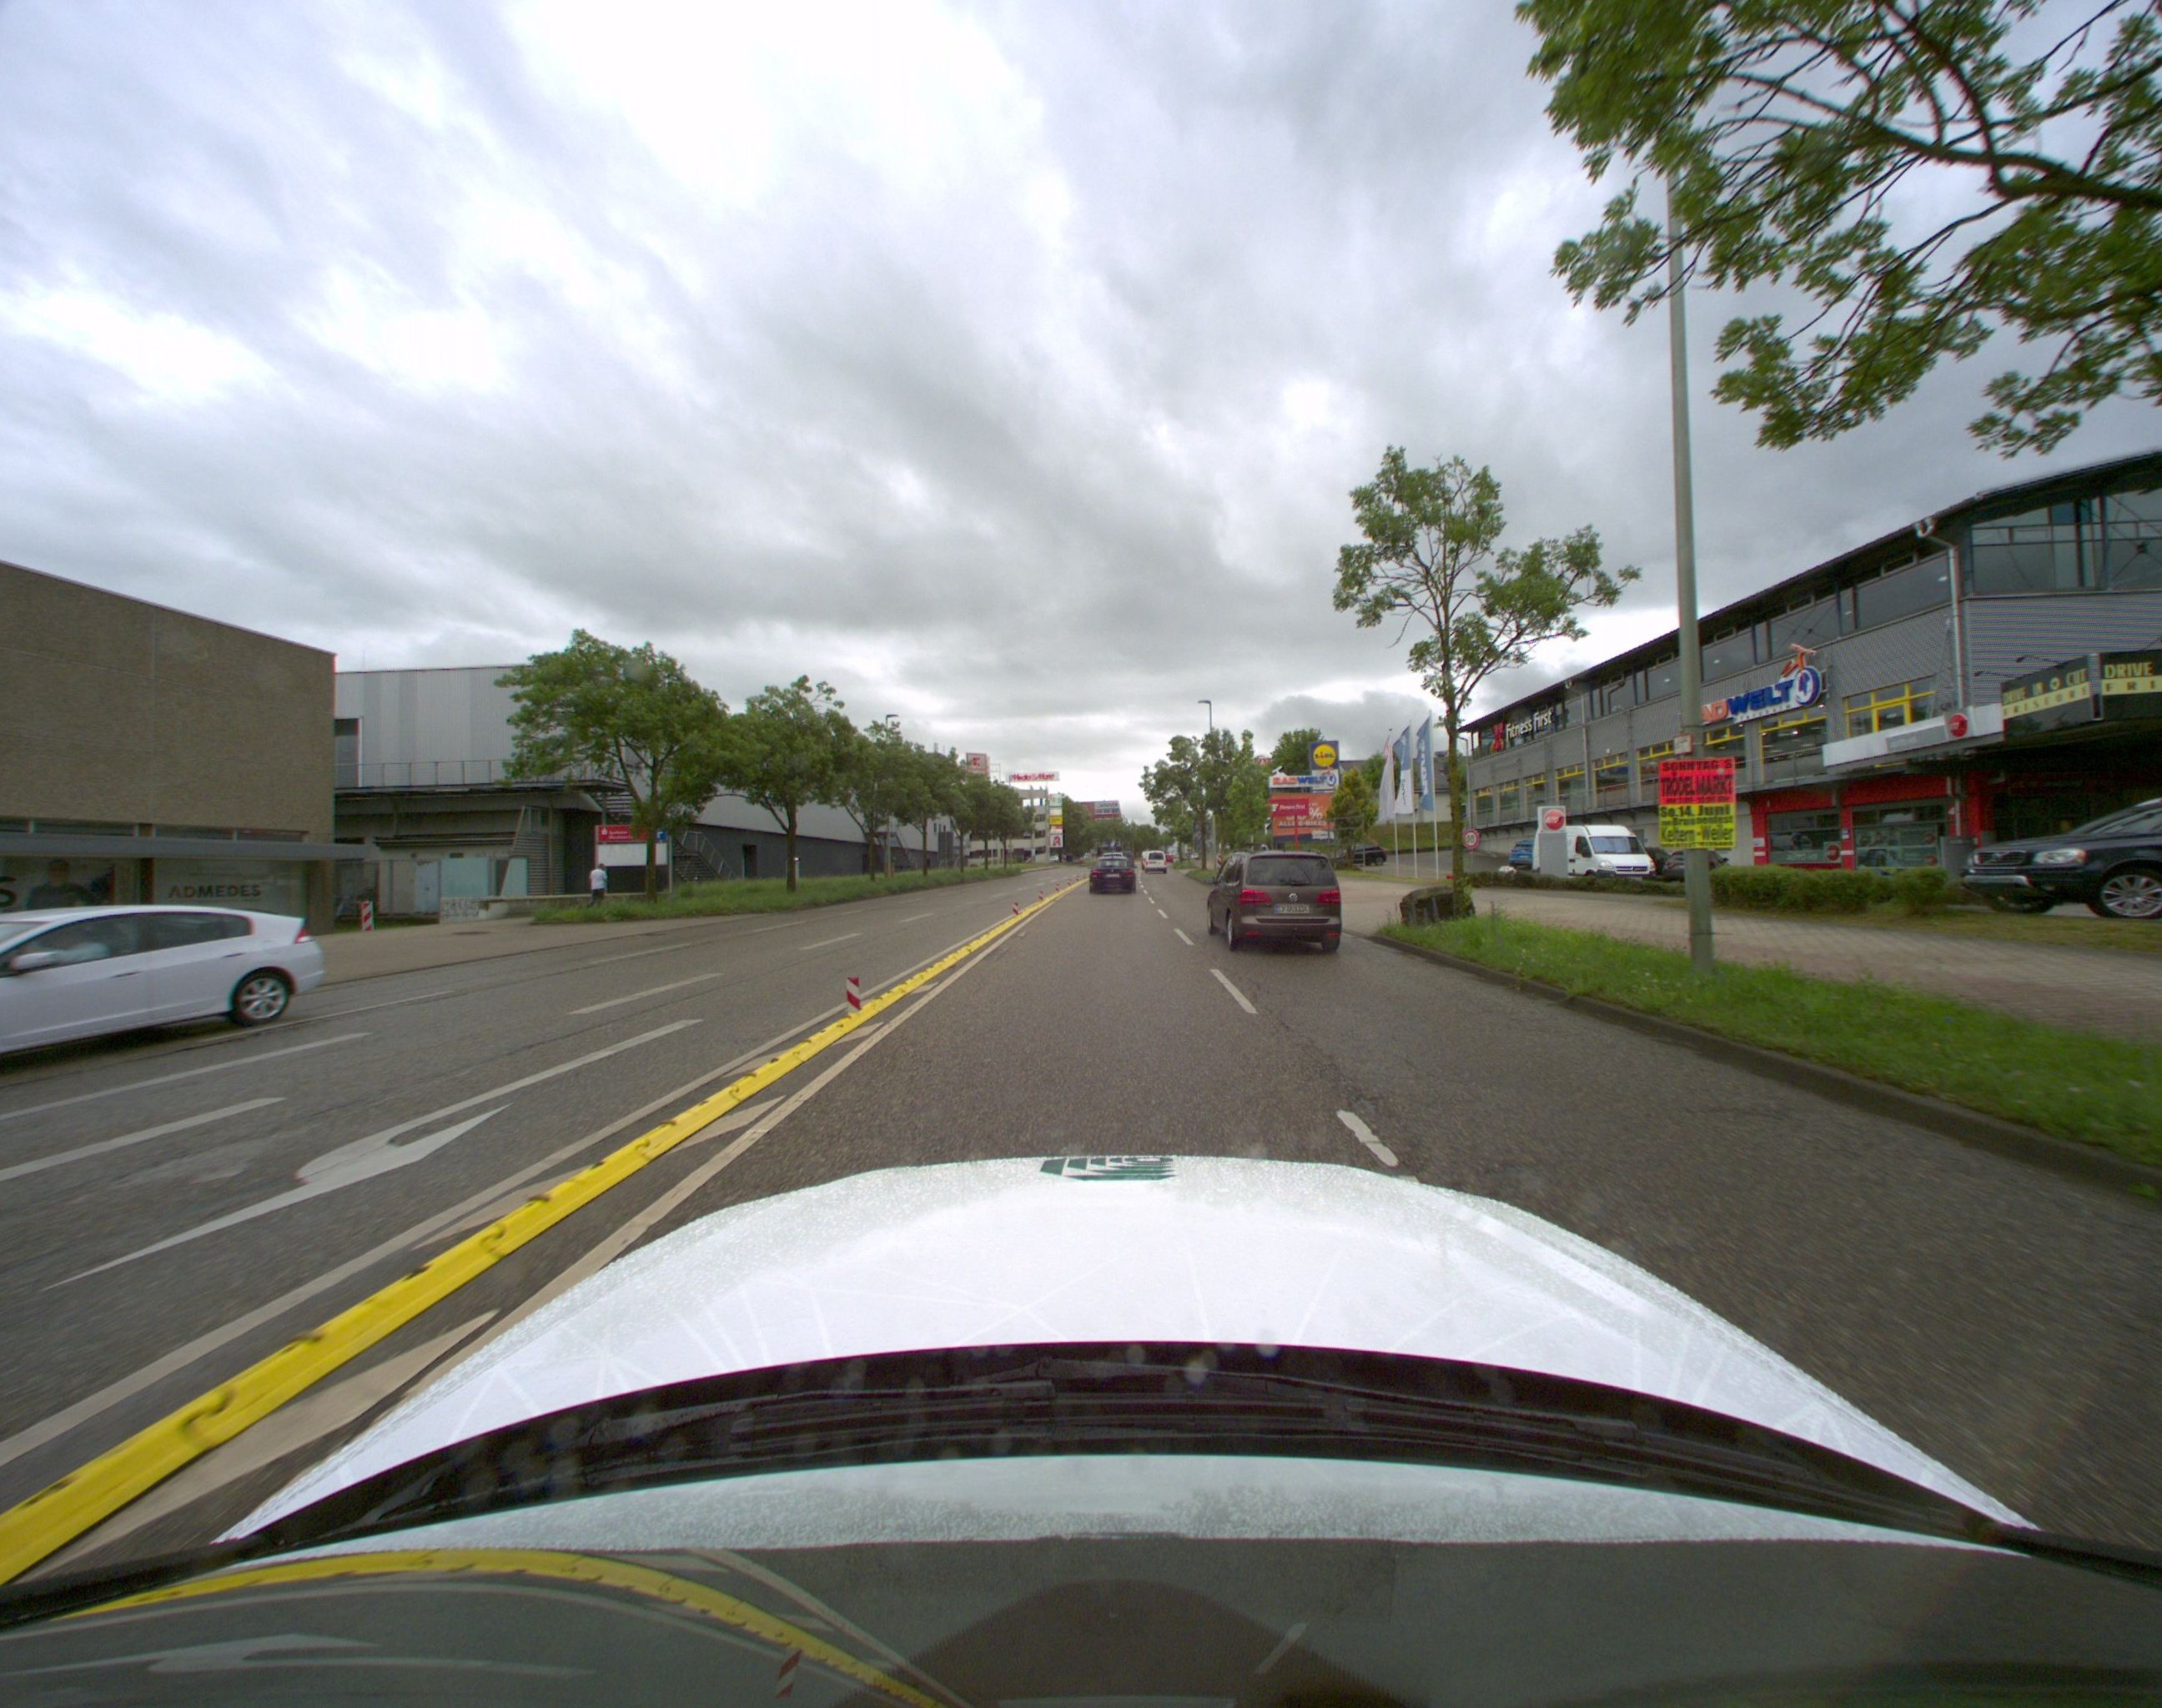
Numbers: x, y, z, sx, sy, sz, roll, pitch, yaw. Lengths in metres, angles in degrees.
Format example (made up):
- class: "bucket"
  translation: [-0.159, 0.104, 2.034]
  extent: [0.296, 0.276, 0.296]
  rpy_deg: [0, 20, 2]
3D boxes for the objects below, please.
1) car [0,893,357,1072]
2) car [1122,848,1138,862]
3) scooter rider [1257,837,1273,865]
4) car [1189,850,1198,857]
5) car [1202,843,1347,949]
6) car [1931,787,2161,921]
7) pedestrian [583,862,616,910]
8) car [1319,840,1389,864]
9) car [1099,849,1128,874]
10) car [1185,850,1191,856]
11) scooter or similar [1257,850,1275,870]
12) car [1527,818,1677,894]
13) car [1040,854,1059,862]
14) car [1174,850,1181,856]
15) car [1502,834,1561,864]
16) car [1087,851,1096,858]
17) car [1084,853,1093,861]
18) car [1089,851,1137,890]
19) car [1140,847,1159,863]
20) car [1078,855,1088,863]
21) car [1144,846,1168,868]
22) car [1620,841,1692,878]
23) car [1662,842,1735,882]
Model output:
- class: "car"
  translation: [-10.097, 1.217, 8.012]
  extent: [1.733, 1.406, 4.472]
  rpy_deg: [-3, -1, 3]
- class: "car"
  translation: [5.465, 0.145, 90.685]
  extent: [1.786, 1.510, 4.003]
  rpy_deg: [0, 0, 3]
- class: "scooter rider"
  translation: [12.538, -0.197, 55.436]
  extent: [0.695, 1.820, 0.855]
  rpy_deg: [-3, 0, -9]
- class: "car"
  translation: [23.656, -0.041, 171.122]
  extent: [1.785, 1.510, 4.006]
  rpy_deg: [0, 0, 5]
- class: "car"
  translation: [3.207, 0.630, 14.289]
  extent: [1.679, 1.581, 4.220]
  rpy_deg: [0, 0, 2]
- class: "car"
  translation: [14.997, -0.126, 10.926]
  extent: [4.624, 1.601, 1.933]
  rpy_deg: [-5, 0, 12]
- class: "pedestrian"
  translation: [-15.962, 1.051, 27.026]
  extent: [0.581, 1.583, 0.768]
  rpy_deg: [0, 0, 5]
- class: "car"
  translation: [18.129, -0.153, 54.086]
  extent: [4.091, 1.438, 1.791]
  rpy_deg: [-2, 2, -10]
- class: "car"
  translation: [2.111, 0.486, 52.352]
  extent: [1.786, 1.510, 4.004]
  rpy_deg: [0, 0, 3]
- class: "car"
  translation: [30.969, -0.232, 235.885]
  extent: [1.786, 1.510, 4.005]
  rpy_deg: [0, 0, 5]
- class: "scooter or similar"
  translation: [12.585, 0.400, 55.373]
  extent: [0.695, 1.263, 1.396]
  rpy_deg: [-3, 0, -9]
- class: "car"
  translation: [18.870, -0.036, 29.904]
  extent: [2.217, 2.536, 5.689]
  rpy_deg: [0, 2, 5]
- class: "car"
  translation: [-7.684, 1.029, 201.410]
  extent: [4.582, 1.745, 1.968]
  rpy_deg: [-1, 1, 1]
- class: "car"
  translation: [26.741, -0.328, 226.727]
  extent: [1.786, 1.510, 4.005]
  rpy_deg: [0, 0, 5]
- class: "car"
  translation: [26.328, -0.325, 47.555]
  extent: [3.931, 1.559, 1.720]
  rpy_deg: [-3, 2, -39]
- class: "car"
  translation: [2.961, 0.232, 231.088]
  extent: [2.126, 1.773, 4.618]
  rpy_deg: [0, 1, 7]
- class: "car"
  translation: [1.962, 0.762, 210.171]
  extent: [2.029, 1.762, 4.955]
  rpy_deg: [0, 1, 6]
- class: "car"
  translation: [1.341, 0.619, 33.324]
  extent: [1.819, 1.468, 4.003]
  rpy_deg: [-1, 0, 3]
- class: "car"
  translation: [6.804, 0.084, 81.339]
  extent: [1.786, 1.510, 4.003]
  rpy_deg: [0, 0, 3]
- class: "car"
  translation: [0.506, 1.177, 195.784]
  extent: [1.924, 1.608, 4.717]
  rpy_deg: [0, 1, 4]
- class: "car"
  translation: [6.112, 0.217, 66.383]
  extent: [1.818, 1.759, 4.006]
  rpy_deg: [0, 0, 5]
- class: "car"
  translation: [26.286, 0.189, 37.165]
  extent: [4.283, 1.470, 1.719]
  rpy_deg: [-3, 3, -41]
- class: "car"
  translation: [26.052, 0.279, 34.304]
  extent: [4.284, 1.470, 1.762]
  rpy_deg: [-3, 3, -43]
